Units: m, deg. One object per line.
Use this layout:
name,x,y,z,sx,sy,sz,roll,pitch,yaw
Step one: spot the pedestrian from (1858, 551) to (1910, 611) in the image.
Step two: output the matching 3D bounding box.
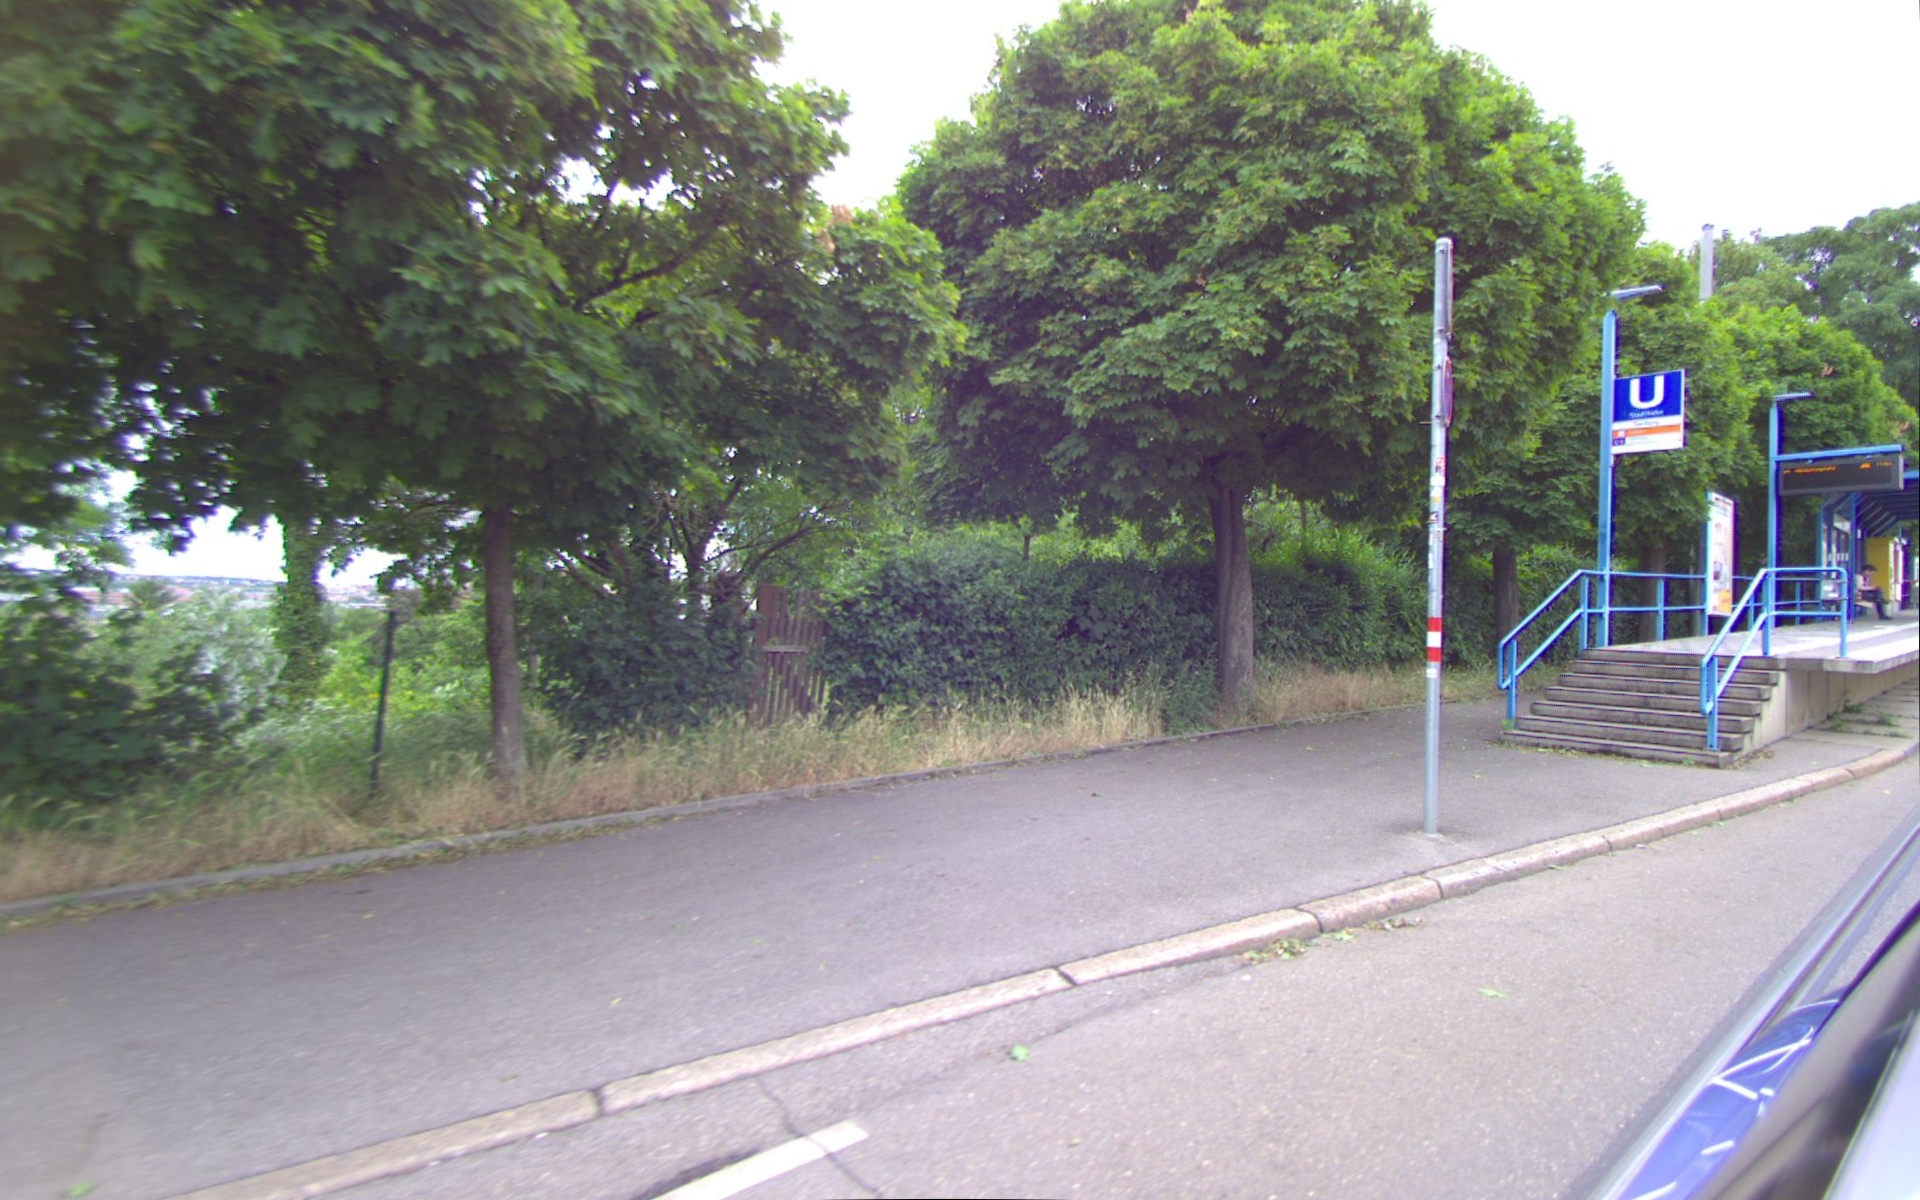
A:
pedestrian,20.773,-0.422,22.748,0.645,1.331,0.780,0,0,-40
